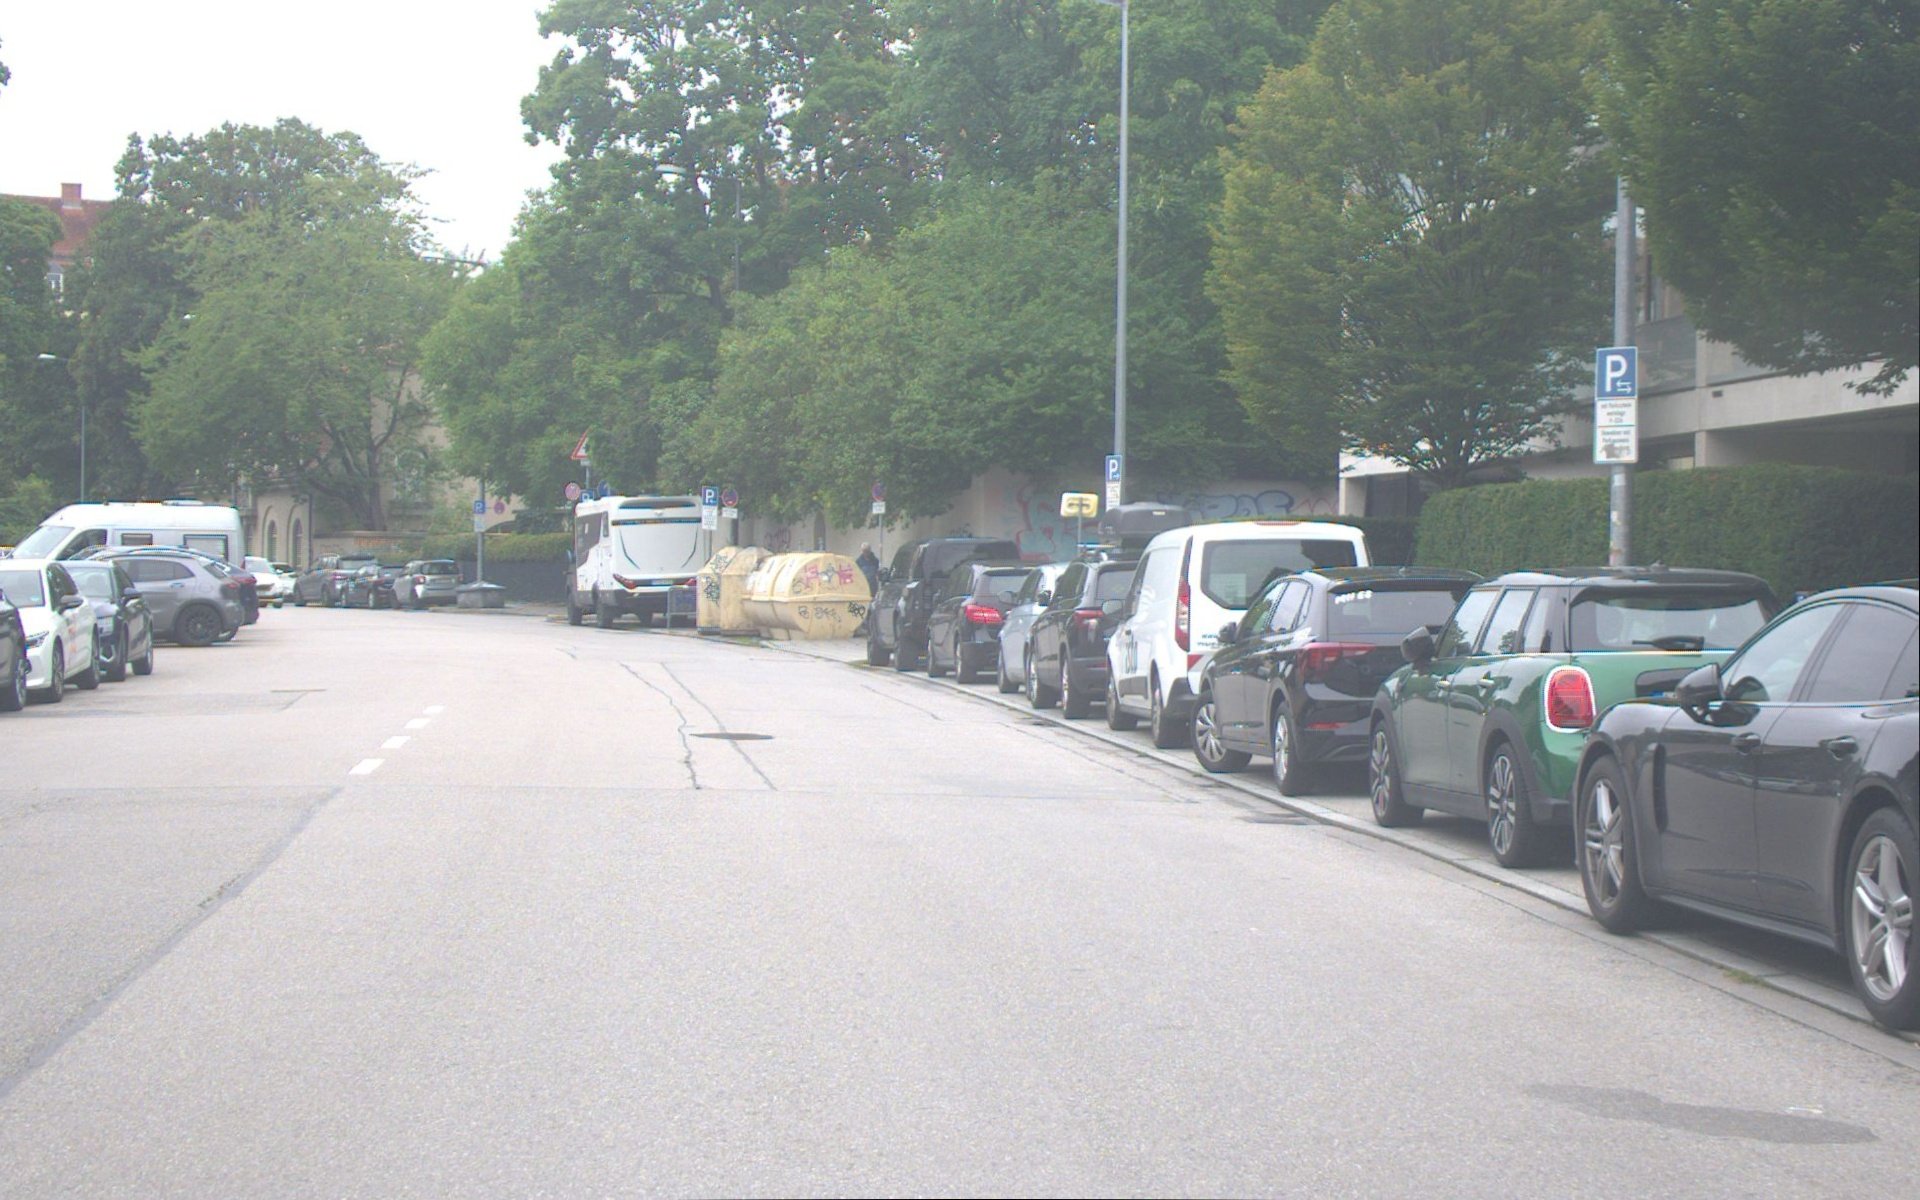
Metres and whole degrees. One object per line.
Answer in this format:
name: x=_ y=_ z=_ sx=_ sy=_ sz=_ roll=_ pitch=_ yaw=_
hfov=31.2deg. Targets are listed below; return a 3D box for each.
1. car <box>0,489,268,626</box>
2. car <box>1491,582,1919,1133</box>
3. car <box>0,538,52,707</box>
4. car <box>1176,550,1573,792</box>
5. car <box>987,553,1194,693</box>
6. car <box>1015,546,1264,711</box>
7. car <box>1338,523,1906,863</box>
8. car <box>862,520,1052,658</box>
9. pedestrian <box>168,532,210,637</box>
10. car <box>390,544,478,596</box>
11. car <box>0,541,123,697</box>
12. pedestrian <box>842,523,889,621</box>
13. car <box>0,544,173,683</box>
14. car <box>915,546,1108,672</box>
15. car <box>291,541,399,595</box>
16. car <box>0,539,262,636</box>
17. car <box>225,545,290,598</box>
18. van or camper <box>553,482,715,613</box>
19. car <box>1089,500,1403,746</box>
car: x=-15.956 y=-0.855 z=66.219 sx=4.623 sy=2.554 sz=2.233 roll=-1 pitch=2 yaw=-39
car: x=3.240 y=0.757 z=12.432 sx=1.281 sy=1.501 sz=5.208 roll=-2 pitch=2 yaw=-6
car: x=-9.674 y=0.228 z=31.588 sx=1.845 sy=1.530 sz=4.442 roll=-2 pitch=1 yaw=-6
car: x=2.683 y=0.403 z=23.218 sx=1.747 sy=1.459 sz=4.243 roll=0 pitch=1 yaw=-6
car: x=1.415 y=0.219 z=38.817 sx=1.747 sy=1.475 sz=3.889 roll=0 pitch=1 yaw=-7
car: x=1.705 y=0.229 z=34.206 sx=1.747 sy=1.475 sz=4.599 roll=1 pitch=1 yaw=-6
car: x=3.285 y=0.380 z=17.908 sx=1.726 sy=1.524 sz=4.205 roll=-1 pitch=1 yaw=-6
car: x=-0.111 y=-0.152 z=49.810 sx=1.987 sy=1.865 sz=5.079 roll=1 pitch=0 yaw=-8
pedestrian: x=-12.302 y=-0.250 z=54.846 sx=0.589 sy=1.642 sz=0.714 roll=-1 pitch=1 yaw=-15
car: x=-16.147 y=-0.906 z=105.422 sx=1.739 sy=1.531 sz=2.946 roll=-1 pitch=1 yaw=-29
car: x=-10.150 y=0.170 z=36.386 sx=1.845 sy=1.530 sz=4.522 roll=-2 pitch=1 yaw=-6
pedestrian: x=-1.927 y=-0.573 z=69.879 sx=0.795 sy=1.978 sz=0.631 roll=1 pitch=1 yaw=-17
car: x=-10.651 y=0.123 z=41.280 sx=1.845 sy=1.530 sz=4.563 roll=-2 pitch=1 yaw=-7
car: x=0.607 y=0.077 z=44.487 sx=1.747 sy=1.534 sz=4.571 roll=1 pitch=1 yaw=-9
car: x=-20.277 y=-1.062 z=113.181 sx=1.993 sy=1.705 sz=4.885 roll=-2 pitch=1 yaw=-29
car: x=-13.602 y=-0.185 z=55.547 sx=4.329 sy=1.524 sz=1.934 roll=0 pitch=0 yaw=-19
car: x=-20.101 y=-0.835 z=98.384 sx=1.772 sy=1.470 sz=4.135 roll=1 pitch=1 yaw=-12
van or camper: x=-7.708 y=-1.224 z=80.438 sx=2.272 sy=2.896 sz=7.279 roll=0 pitch=1 yaw=-18
car: x=2.312 y=0.136 z=29.085 sx=1.822 sy=1.854 sz=4.899 roll=2 pitch=1 yaw=-5
